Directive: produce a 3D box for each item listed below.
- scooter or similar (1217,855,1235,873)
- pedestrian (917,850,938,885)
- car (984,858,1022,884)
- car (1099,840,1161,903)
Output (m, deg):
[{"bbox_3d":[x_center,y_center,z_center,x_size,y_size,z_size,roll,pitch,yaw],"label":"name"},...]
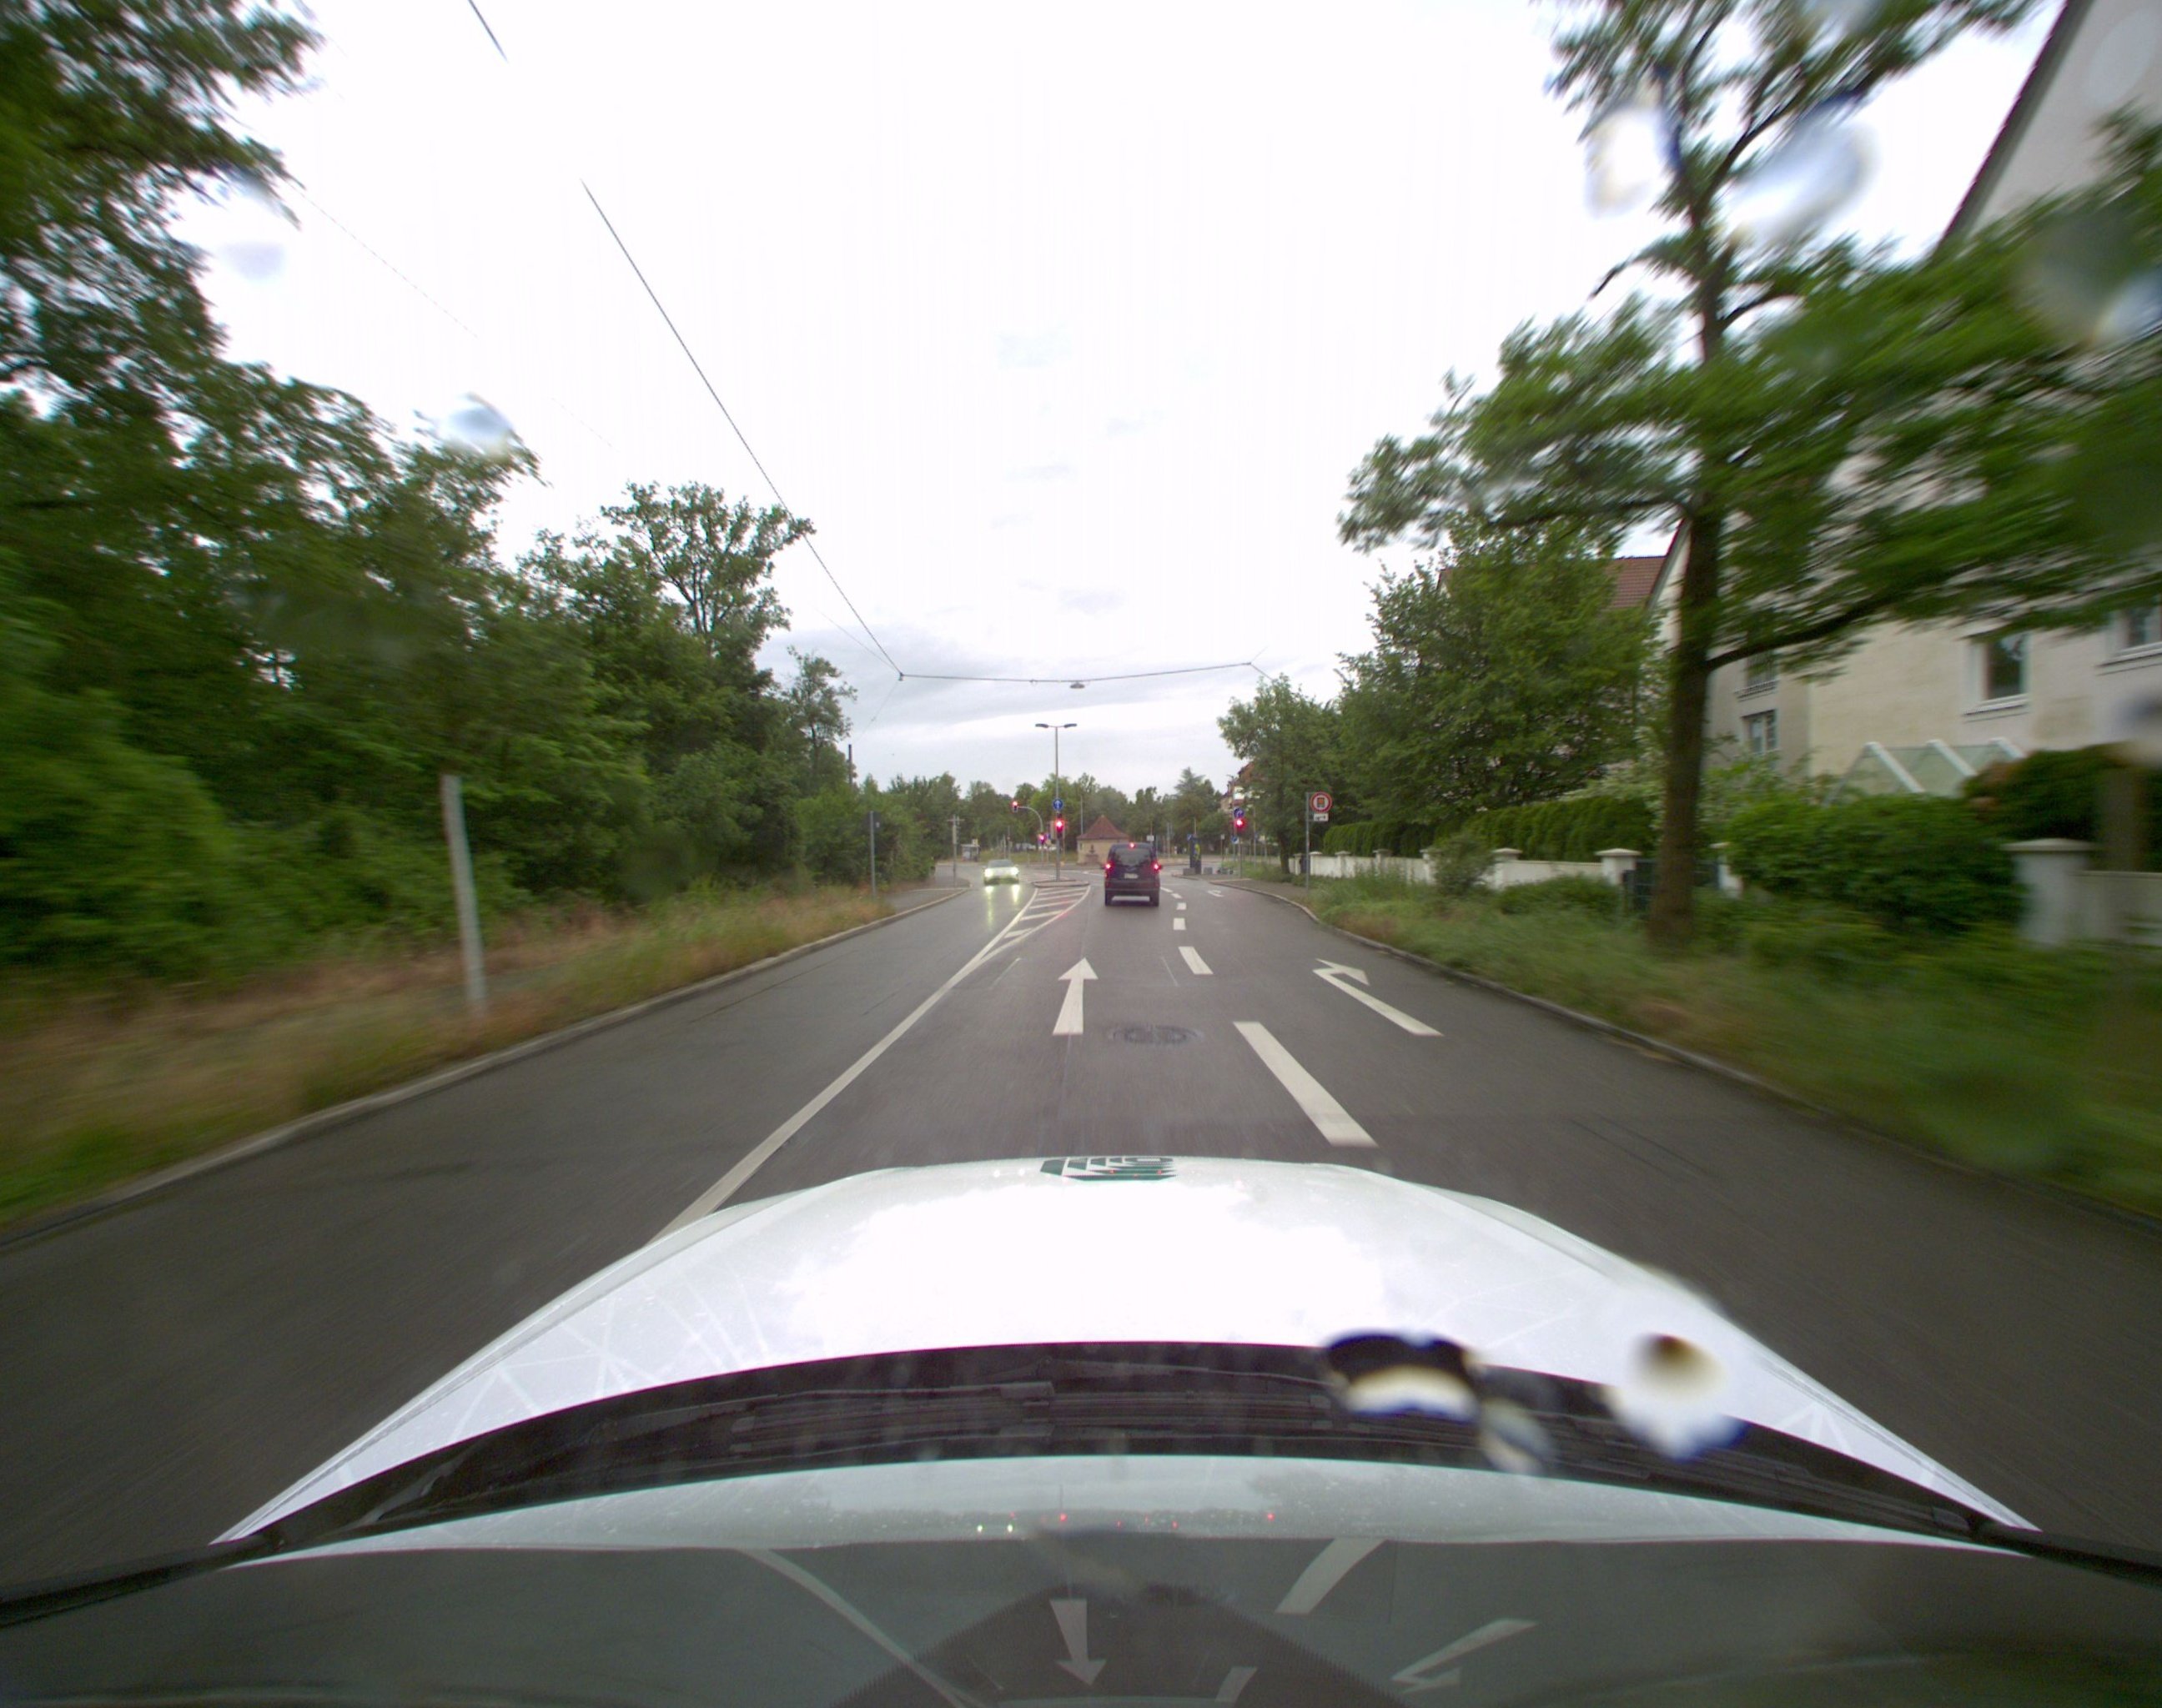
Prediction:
[{"bbox_3d":[9.993,0.659,56.218,1.144,1.219,0.406,-1,-1,1],"label":"scooter or similar"},{"bbox_3d":[-9.086,0.795,48.195,1.085,2.014,0.999,0,-1,-2],"label":"pedestrian"},{"bbox_3d":[-4.665,0.990,48.079,1.992,1.311,4.348,-4,0,-8],"label":"car"},{"bbox_3d":[1.435,0.503,25.202,1.725,1.786,4.000,0,0,1],"label":"car"}]
